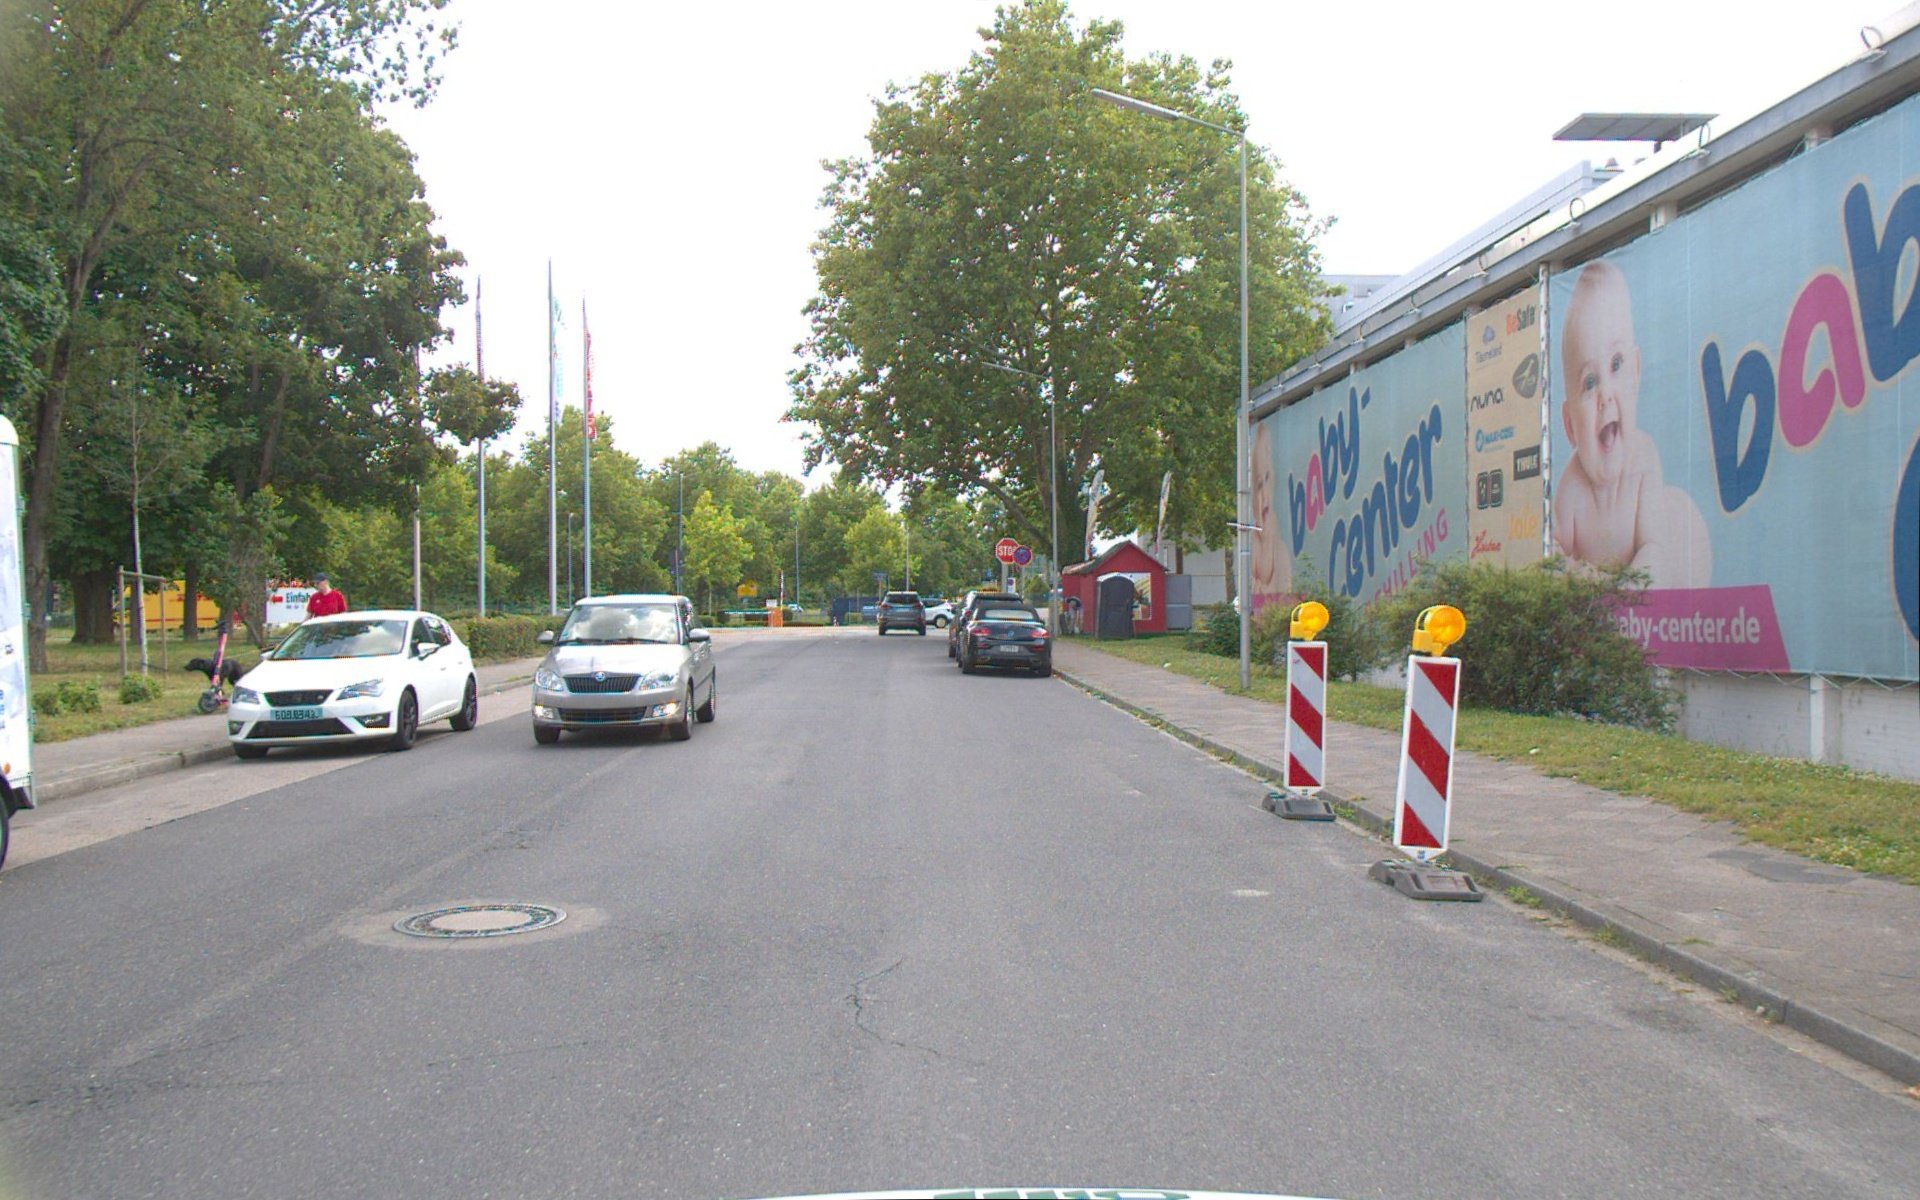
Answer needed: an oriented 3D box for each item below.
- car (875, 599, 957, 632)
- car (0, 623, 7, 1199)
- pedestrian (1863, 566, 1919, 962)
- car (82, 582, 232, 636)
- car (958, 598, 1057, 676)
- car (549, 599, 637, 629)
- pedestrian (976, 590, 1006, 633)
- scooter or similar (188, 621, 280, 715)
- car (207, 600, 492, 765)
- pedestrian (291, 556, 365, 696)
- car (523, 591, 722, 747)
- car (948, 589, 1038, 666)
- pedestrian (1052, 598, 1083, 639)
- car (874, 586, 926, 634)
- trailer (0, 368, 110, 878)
[{"bbox_3d":[-2.308,0.794,85.492,4.137,1.607,1.922,0,0,-5],"label":"car"},{"bbox_3d":[-2.898,0.765,1.278,1.884,1.401,4.378,-1,0,-2],"label":"car"},{"bbox_3d":[4.142,0.644,6.326,0.668,1.560,1.128,0,-1,-7],"label":"pedestrian"},{"bbox_3d":[-39.718,0.428,81.931,6.257,2.623,2.204,0,0,-4],"label":"car"},{"bbox_3d":[0.911,0.703,33.983,1.771,1.415,4.587,2,0,-1],"label":"car"},{"bbox_3d":[-18.603,0.704,83.994,4.137,1.430,1.922,0,0,-5],"label":"car"},{"bbox_3d":[1.363,0.497,72.812,0.986,1.882,1.222,0,-1,-20],"label":"pedestrian"},{"bbox_3d":[-9.729,0.890,22.205,0.506,1.214,1.281,0,0,9],"label":"scooter or similar"},{"bbox_3d":[-6.579,0.804,18.326,1.730,1.505,4.232,-3,0,-3],"label":"car"},{"bbox_3d":[-9.394,0.384,24.613,0.793,2.049,0.885,0,-1,-3],"label":"pedestrian"},{"bbox_3d":[-3.612,0.675,18.276,1.559,1.490,3.759,-2,0,-3],"label":"car"},{"bbox_3d":[0.738,0.625,40.336,1.772,1.694,4.636,2,0,-4],"label":"car"},{"bbox_3d":[3.602,0.616,55.185,0.992,1.337,0.965,0,-1,6],"label":"pedestrian"},{"bbox_3d":[-2.444,0.367,66.024,1.923,1.847,4.272,0,0,-4],"label":"car"},{"bbox_3d":[-6.328,0.163,7.965,2.097,2.831,4.700,-3,0,-3],"label":"trailer"}]
